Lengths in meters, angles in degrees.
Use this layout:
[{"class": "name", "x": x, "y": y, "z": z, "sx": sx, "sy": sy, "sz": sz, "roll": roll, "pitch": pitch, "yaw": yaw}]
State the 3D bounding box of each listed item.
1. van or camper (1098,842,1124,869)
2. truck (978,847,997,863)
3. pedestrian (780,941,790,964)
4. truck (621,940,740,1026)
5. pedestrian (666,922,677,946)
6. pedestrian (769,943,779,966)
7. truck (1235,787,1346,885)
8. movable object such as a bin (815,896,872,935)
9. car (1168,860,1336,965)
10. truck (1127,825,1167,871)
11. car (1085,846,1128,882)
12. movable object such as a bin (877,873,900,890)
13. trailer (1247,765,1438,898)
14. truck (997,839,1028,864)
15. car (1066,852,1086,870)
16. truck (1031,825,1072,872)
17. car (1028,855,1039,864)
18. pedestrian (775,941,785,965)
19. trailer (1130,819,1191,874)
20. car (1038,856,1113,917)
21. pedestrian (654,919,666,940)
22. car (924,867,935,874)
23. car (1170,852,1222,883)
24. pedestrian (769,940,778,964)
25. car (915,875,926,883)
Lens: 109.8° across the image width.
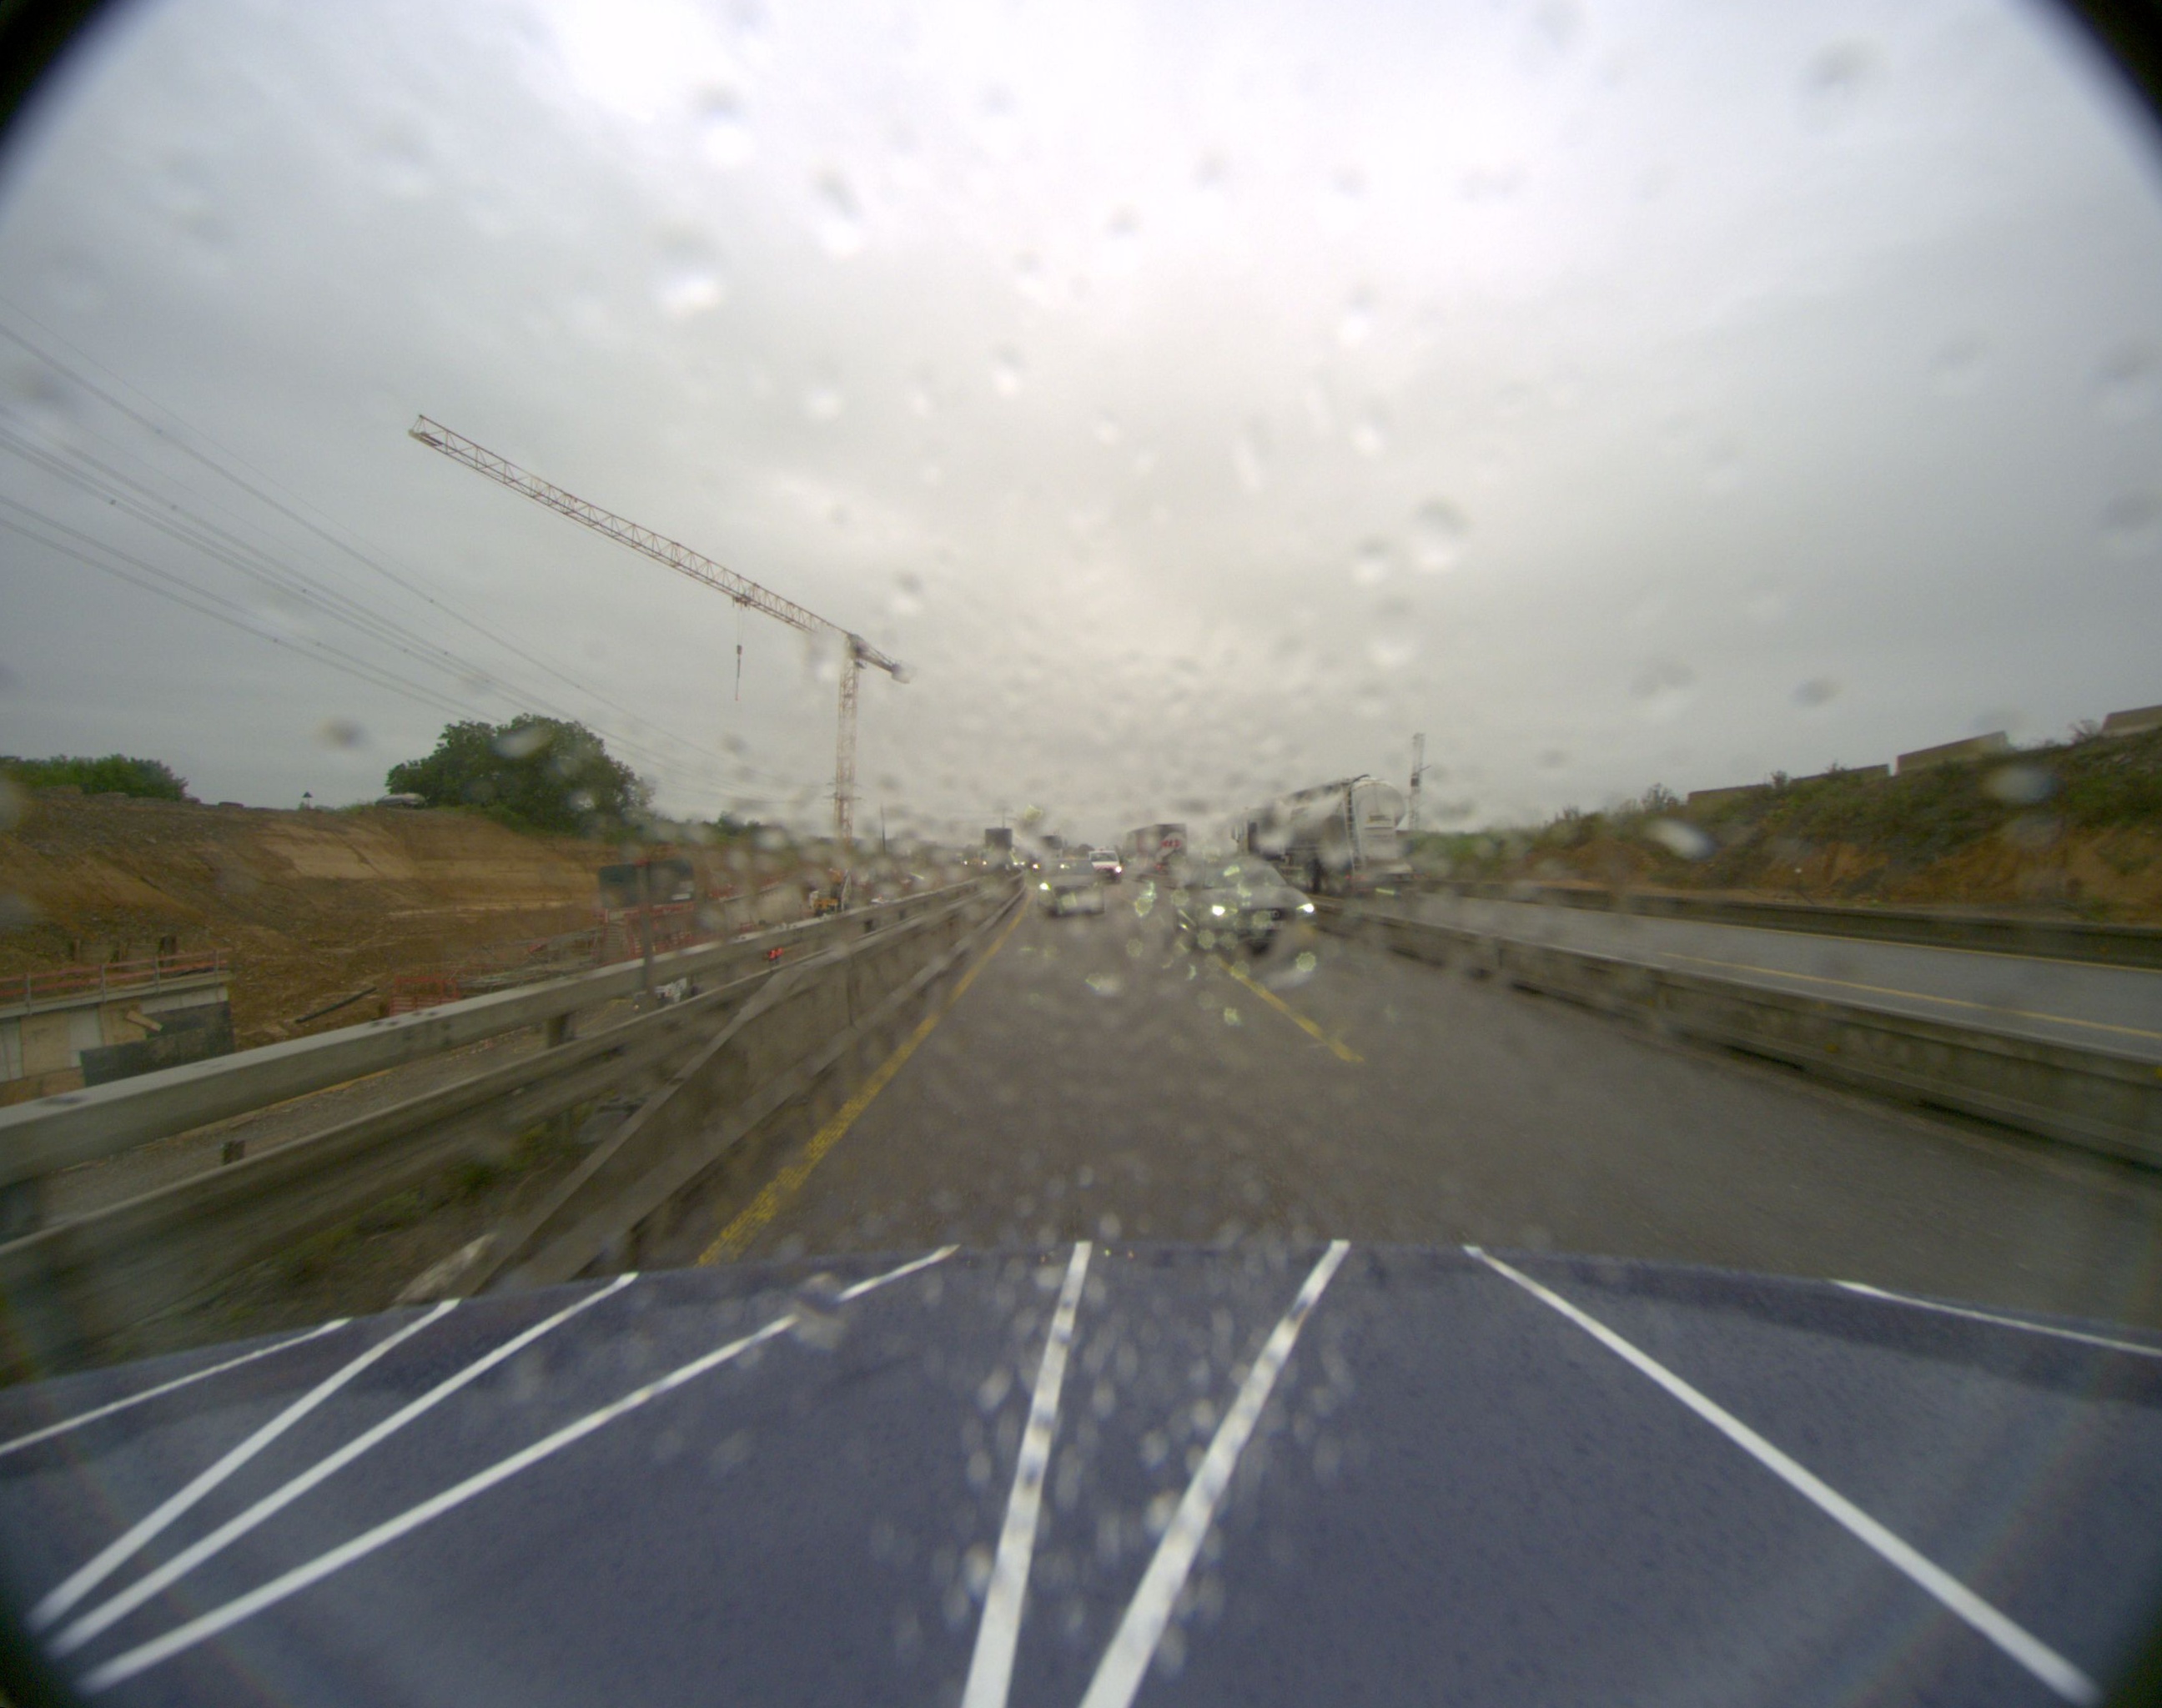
[{"class": "van or camper", "x": 3.033, "y": 0.103, "z": 79.228, "sx": 2.284, "sy": 2.599, "sz": 5.827, "roll": -2, "pitch": 0, "yaw": -1}, {"class": "truck", "x": -23.466, "y": 0.221, "z": 189.854, "sx": 3.549, "sy": 3.871, "sz": 8.325, "roll": -2, "pitch": 1, "yaw": -13}, {"class": "pedestrian", "x": -24.818, "y": 8.265, "z": 63.735, "sx": 0.603, "sy": 1.894, "sz": 0.481, "roll": 1, "pitch": 1, "yaw": -5}, {"class": "truck", "x": -24.472, "y": 7.738, "z": 47.148, "sx": 2.710, "sy": 3.591, "sz": 9.070, "roll": 1, "pitch": 1, "yaw": -1}, {"class": "pedestrian", "x": -37.032, "y": 7.246, "z": 68.779, "sx": 0.489, "sy": 2.088, "sz": 0.481, "roll": -6, "pitch": 2, "yaw": -5}, {"class": "pedestrian", "x": -25.127, "y": 8.216, "z": 62.141, "sx": 0.603, "sy": 1.759, "sz": 0.481, "roll": 3, "pitch": 1, "yaw": -5}, {"class": "truck", "x": 9.113, "y": -0.761, "z": 33.761, "sx": 3.239, "sy": 3.933, "sz": 5.880, "roll": -1, "pitch": 1, "yaw": 0}, {"class": "movable object such as a bin", "x": -25.314, "y": 6.529, "z": 81.367, "sx": 3.516, "sy": 3.405, "sz": 6.653, "roll": -1, "pitch": 2, "yaw": 4}, {"class": "car", "x": 2.681, "y": 0.852, "z": 12.908, "sx": 1.805, "sy": 1.375, "sz": 4.086, "roll": -1, "pitch": 1, "yaw": -2}, {"class": "truck", "x": 6.434, "y": -0.583, "z": 75.269, "sx": 2.988, "sy": 4.383, "sz": 6.929, "roll": 0, "pitch": 0, "yaw": -3}, {"class": "car", "x": 1.428, "y": 0.538, "z": 44.617, "sx": 2.070, "sy": 1.934, "sz": 5.155, "roll": -1, "pitch": 1, "yaw": -2}, {"class": "movable object such as a bin", "x": -36.595, "y": 5.223, "z": 144.751, "sx": 3.502, "sy": 2.865, "sz": 3.997, "roll": 5, "pitch": 0, "yaw": -5}, {"class": "trailer", "x": 9.153, "y": -0.731, "z": 28.696, "sx": 3.263, "sy": 3.941, "sz": 11.535, "roll": -1, "pitch": 1, "yaw": 0}, {"class": "truck", "x": -13.317, "y": -0.447, "z": 146.414, "sx": 4.322, "sy": 4.319, "sz": 13.394, "roll": -2, "pitch": 0, "yaw": -11}, {"class": "car", "x": -0.561, "y": 0.713, "z": 80.485, "sx": 1.790, "sy": 1.744, "sz": 3.998, "roll": -2, "pitch": 0, "yaw": -5}, {"class": "truck", "x": -2.509, "y": -0.495, "z": 61.386, "sx": 2.857, "sy": 3.462, "sz": 8.639, "roll": -1, "pitch": 1, "yaw": -5}, {"class": "car", "x": -8.956, "y": 1.060, "z": 143.452, "sx": 1.790, "sy": 1.646, "sz": 3.997, "roll": -2, "pitch": 0, "yaw": -7}, {"class": "pedestrian", "x": -24.935, "y": 8.227, "z": 63.005, "sx": 0.603, "sy": 1.894, "sz": 0.614, "roll": 0, "pitch": 1, "yaw": -5}, {"class": "trailer", "x": 6.838, "y": -0.592, "z": 68.508, "sx": 3.004, "sy": 4.395, "sz": 15.697, "roll": 0, "pitch": 0, "yaw": -3}, {"class": "car", "x": -0.226, "y": 0.821, "z": 21.349, "sx": 1.875, "sy": 1.481, "sz": 4.259, "roll": -1, "pitch": 0, "yaw": -3}, {"class": "pedestrian", "x": -37.179, "y": 6.664, "z": 67.136, "sx": 0.488, "sy": 1.794, "sz": 0.583, "roll": -5, "pitch": 2, "yaw": 36}, {"class": "car", "x": -38.198, "y": 4.257, "z": 192.015, "sx": 2.352, "sy": 1.609, "sz": 4.856, "roll": 0, "pitch": 1, "yaw": -6}, {"class": "car", "x": 5.712, "y": 0.617, "z": 38.410, "sx": 1.808, "sy": 1.431, "sz": 4.950, "roll": 0, "pitch": 1, "yaw": -1}, {"class": "pedestrian", "x": -25.968, "y": 8.276, "z": 64.210, "sx": 0.603, "sy": 1.894, "sz": 0.481, "roll": 1, "pitch": 1, "yaw": -5}, {"class": "car", "x": -34.565, "y": 5.367, "z": 164.032, "sx": 1.860, "sy": 1.609, "sz": 4.077, "roll": 0, "pitch": 1, "yaw": -6}]
